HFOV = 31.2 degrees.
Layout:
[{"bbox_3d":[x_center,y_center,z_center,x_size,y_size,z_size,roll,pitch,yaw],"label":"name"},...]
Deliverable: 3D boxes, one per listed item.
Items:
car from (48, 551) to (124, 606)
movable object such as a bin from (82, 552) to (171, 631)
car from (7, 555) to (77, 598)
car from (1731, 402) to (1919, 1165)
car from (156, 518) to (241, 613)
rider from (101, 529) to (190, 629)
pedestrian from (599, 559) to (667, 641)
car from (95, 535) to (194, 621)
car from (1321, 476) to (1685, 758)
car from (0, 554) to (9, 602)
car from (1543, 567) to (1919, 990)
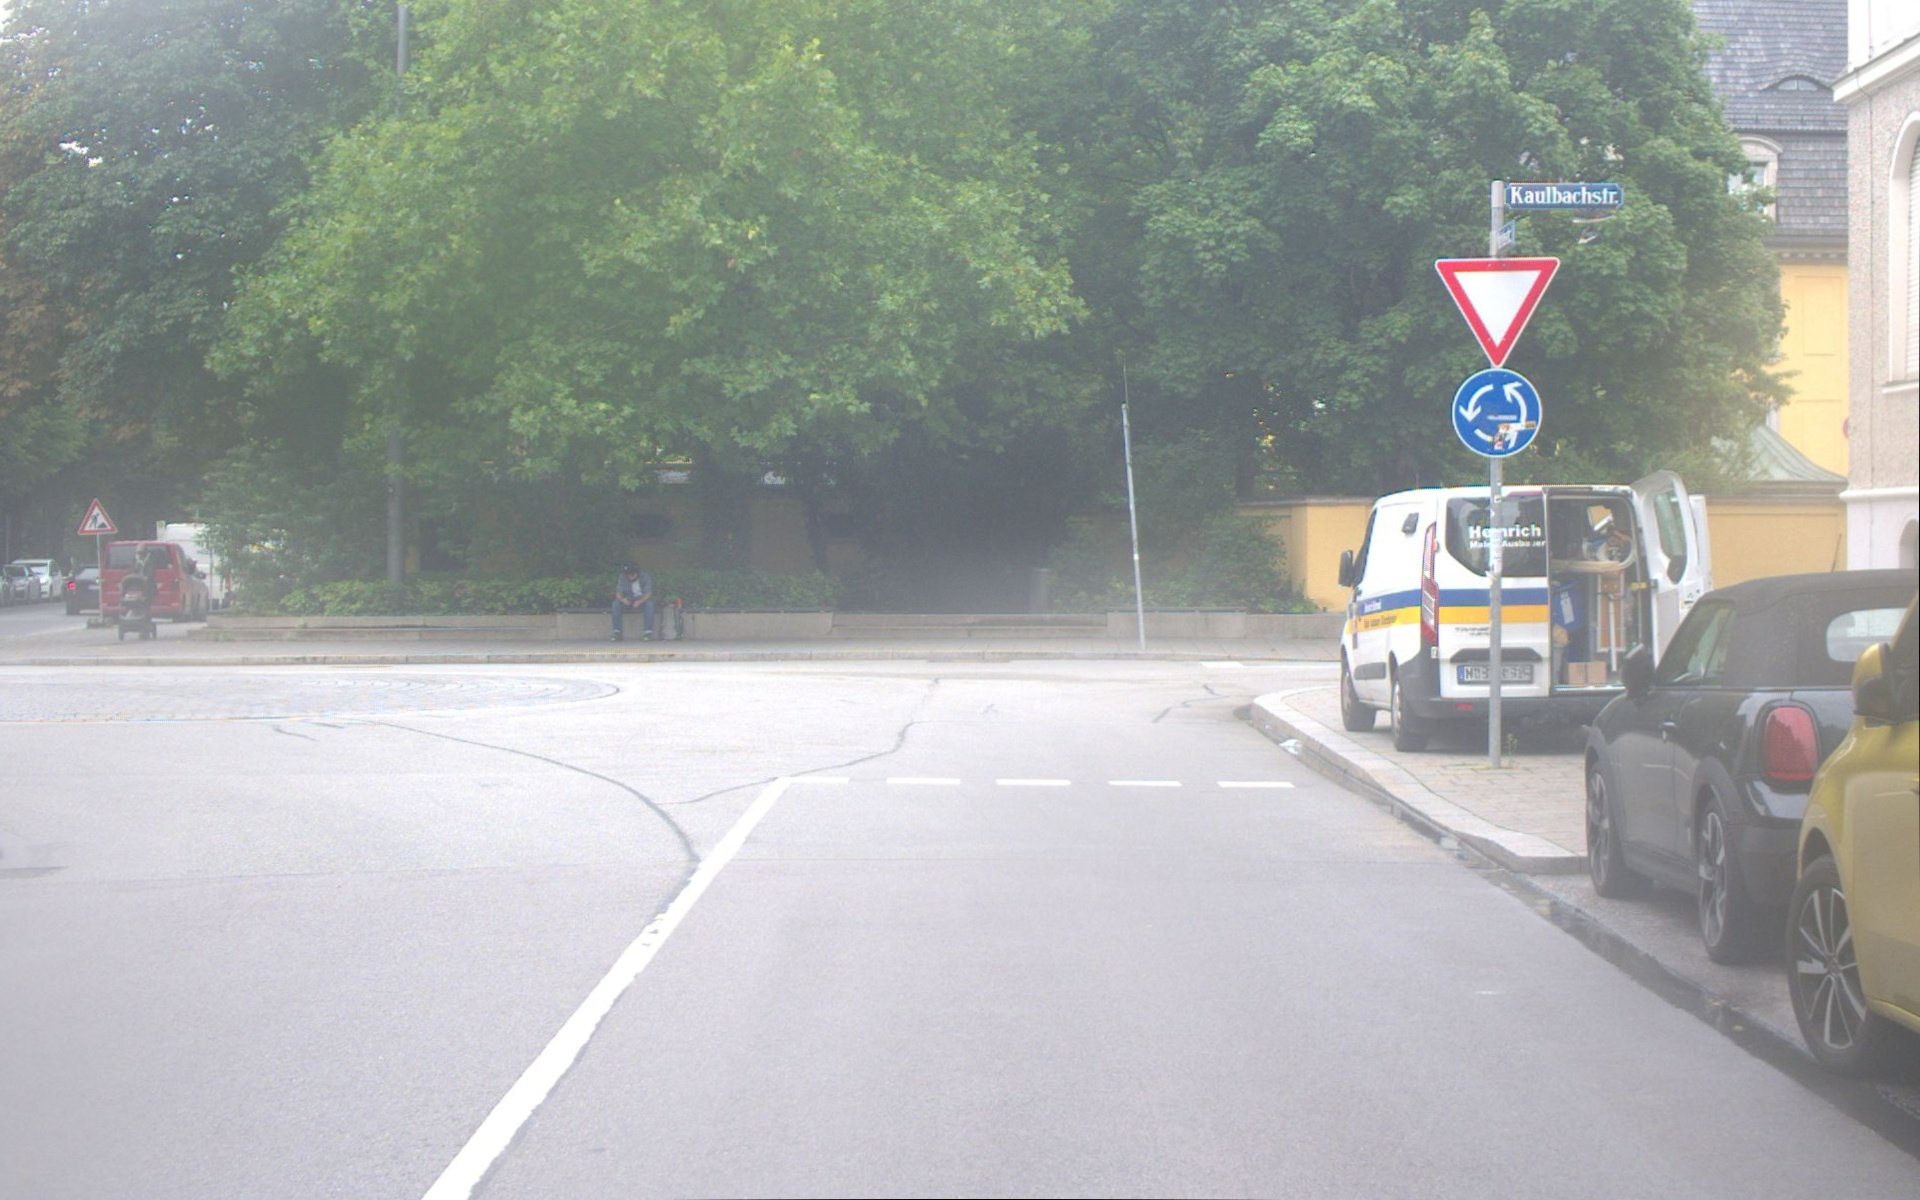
[{"bbox_3d":[-24.402,-0.617,96.083,1.787,1.487,4.001,0,1,-10],"label":"car"},{"bbox_3d":[-14.103,-0.148,58.188,1.078,1.263,1.086,-2,1,8],"label":"movable object such as a bin"},{"bbox_3d":[-34.059,-0.886,127.584,1.895,1.566,4.075,0,1,-6],"label":"car"},{"bbox_3d":[3.253,0.442,8.394,1.850,1.846,4.820,0,1,2],"label":"car"},{"bbox_3d":[-21.008,-0.980,94.993,2.041,2.549,5.250,0,1,-10],"label":"car"},{"bbox_3d":[-13.989,-0.362,59.095,1.082,1.662,1.139,-2,1,8],"label":"rider"},{"bbox_3d":[-4.740,-0.006,49.831,0.812,1.185,0.919,0,1,6],"label":"pedestrian"},{"bbox_3d":[-18.791,-0.535,79.373,2.041,1.916,4.447,0,1,-11],"label":"car"},{"bbox_3d":[4.095,0.074,26.747,1.915,1.955,4.927,-1,1,-1],"label":"car"},{"bbox_3d":[-32.254,-0.727,111.837,1.895,1.566,4.075,0,1,-6],"label":"car"},{"bbox_3d":[3.520,0.608,14.006,1.664,1.452,3.896,0,1,1],"label":"car"}]
